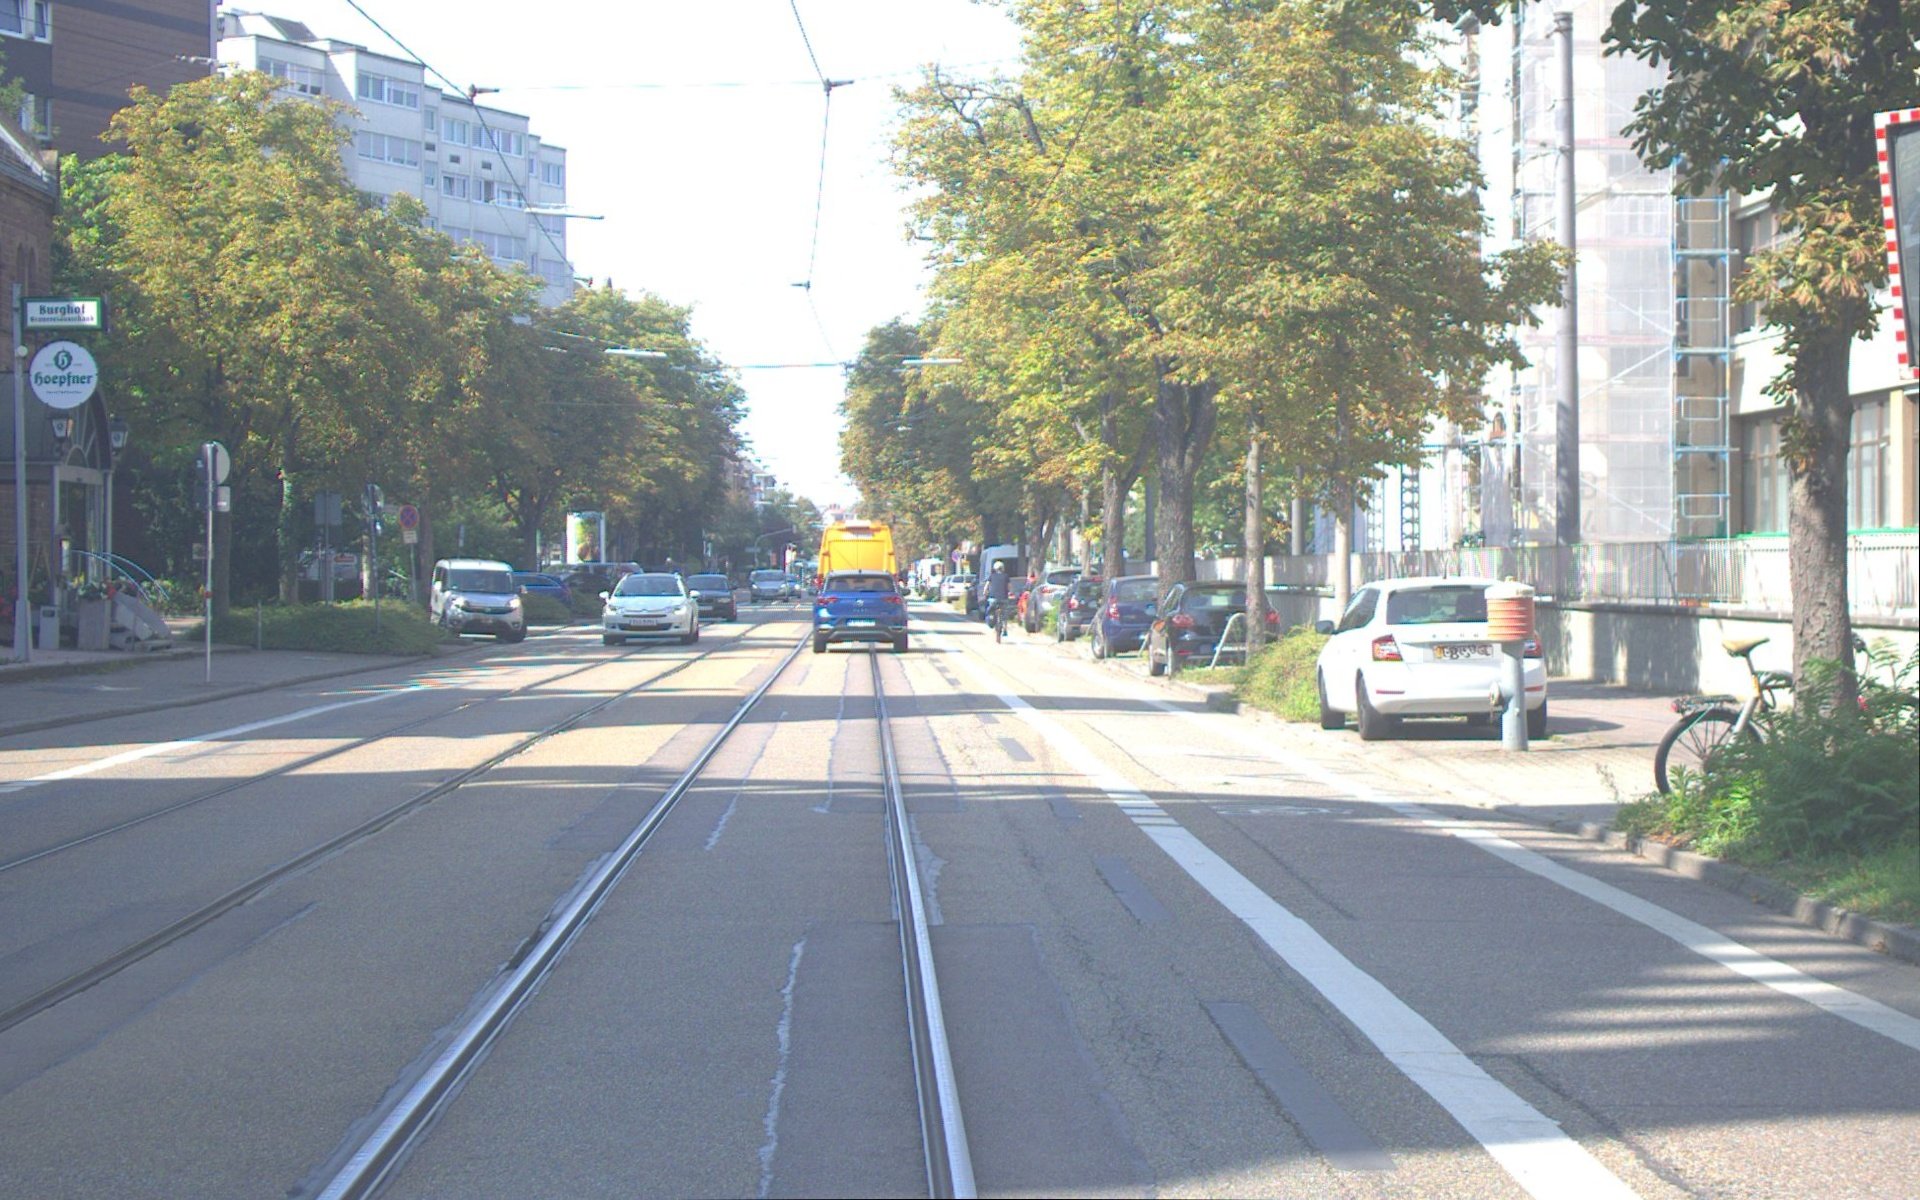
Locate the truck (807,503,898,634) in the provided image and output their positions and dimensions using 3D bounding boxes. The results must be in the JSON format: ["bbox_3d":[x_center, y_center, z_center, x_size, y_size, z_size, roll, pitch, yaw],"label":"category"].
[{"bbox_3d":[-2.626,-0.779,84.981,2.135,3.114,6.085,0,1,-1],"label":"truck"}]

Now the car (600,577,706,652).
[{"bbox_3d":[-6.420,0.282,72.289,1.846,1.486,4.867,0,1,-1],"label":"car"}]

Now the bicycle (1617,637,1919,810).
[{"bbox_3d":[4.750,0.708,19.793,1.812,0.955,0.558,1,0,-1],"label":"bicycle"}]

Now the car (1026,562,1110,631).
[{"bbox_3d":[2.670,-0.110,85.651,1.740,1.662,4.362,1,1,-2],"label":"car"}]

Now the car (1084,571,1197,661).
[{"bbox_3d":[3.239,0.268,62.465,1.743,1.550,4.217,0,0,-1],"label":"car"}]

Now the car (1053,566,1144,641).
[{"bbox_3d":[3.020,0.046,75.561,1.633,1.579,4.189,1,1,-2],"label":"car"}]

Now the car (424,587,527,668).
[{"bbox_3d":[-11.166,0.611,79.053,1.746,1.790,4.001,1,0,-17],"label":"car"}]

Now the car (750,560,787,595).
[{"bbox_3d":[-9.625,-1.139,172.747,1.780,1.678,4.348,1,0,-2],"label":"car"}]

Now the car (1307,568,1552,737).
[{"bbox_3d":[4.372,0.451,32.546,1.659,1.476,4.217,0,0,-1],"label":"car"}]

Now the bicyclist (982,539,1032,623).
[{"bbox_3d":[1.015,-0.424,74.902,1.031,1.806,1.016,1,0,-2],"label":"bicyclist"}]

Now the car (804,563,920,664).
[{"bbox_3d":[-1.867,0.216,66.130,2.135,1.852,5.568,0,1,-1],"label":"car"}]

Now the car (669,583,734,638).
[{"bbox_3d":[-7.782,0.293,103.646,1.681,1.566,4.206,1,1,-1],"label":"car"}]

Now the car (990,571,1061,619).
[{"bbox_3d":[1.997,-0.163,106.165,1.908,1.427,4.293,1,1,-2],"label":"car"}]

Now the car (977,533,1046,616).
[{"bbox_3d":[1.715,-0.877,116.749,1.993,2.746,5.762,1,1,-2],"label":"car"}]

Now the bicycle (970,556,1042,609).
[{"bbox_3d":[0.977,-0.394,74.930,1.401,1.130,4.000,0,1,-2],"label":"bicycle"}]

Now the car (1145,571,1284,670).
[{"bbox_3d":[3.729,0.279,50.921,1.659,1.403,4.217,0,0,-1],"label":"car"}]
